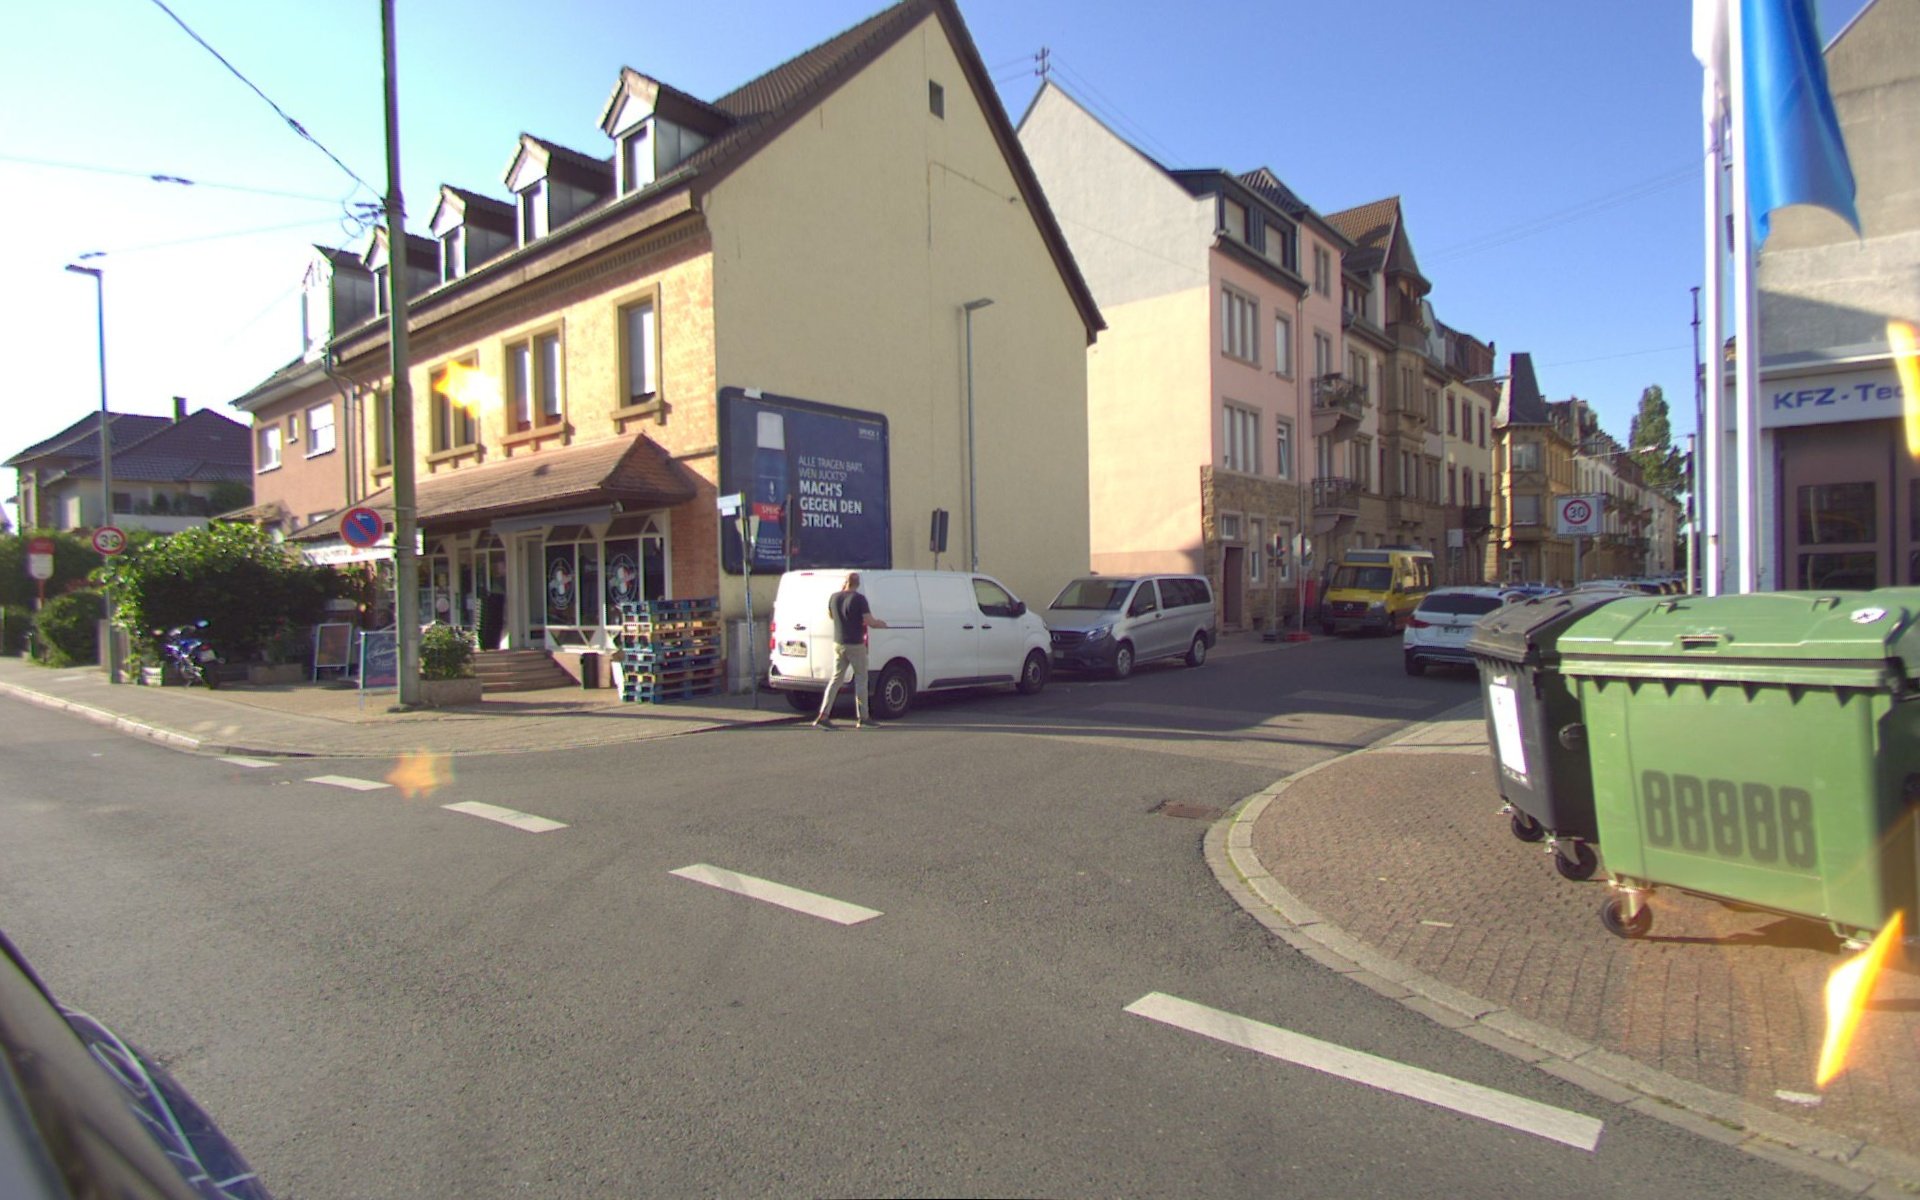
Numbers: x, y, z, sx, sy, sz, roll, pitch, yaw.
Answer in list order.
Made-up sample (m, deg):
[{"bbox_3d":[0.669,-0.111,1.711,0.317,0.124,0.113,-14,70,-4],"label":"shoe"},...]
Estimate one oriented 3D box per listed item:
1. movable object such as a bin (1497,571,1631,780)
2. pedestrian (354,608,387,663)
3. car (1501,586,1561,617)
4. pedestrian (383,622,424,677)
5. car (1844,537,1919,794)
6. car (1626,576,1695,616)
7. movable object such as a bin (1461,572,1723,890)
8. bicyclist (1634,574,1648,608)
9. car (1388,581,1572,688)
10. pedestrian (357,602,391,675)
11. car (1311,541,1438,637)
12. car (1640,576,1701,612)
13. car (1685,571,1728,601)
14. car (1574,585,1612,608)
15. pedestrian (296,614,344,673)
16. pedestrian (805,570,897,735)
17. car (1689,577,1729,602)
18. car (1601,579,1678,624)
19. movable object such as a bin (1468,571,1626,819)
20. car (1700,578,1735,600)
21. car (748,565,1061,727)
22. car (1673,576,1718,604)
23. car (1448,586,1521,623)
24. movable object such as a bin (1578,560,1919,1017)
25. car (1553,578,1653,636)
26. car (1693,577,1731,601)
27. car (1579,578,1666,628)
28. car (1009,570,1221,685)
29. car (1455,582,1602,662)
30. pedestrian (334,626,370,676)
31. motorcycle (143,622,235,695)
[{"bbox_3d":[4.744,0.554,7.928,0.702,1.494,1.167,-5,-2,35],"label":"movable object such as a bin"},{"bbox_3d":[-13.695,0.817,23.500,0.465,1.268,0.517,-1,0,41],"label":"pedestrian"},{"bbox_3d":[29.697,0.061,52.602,1.999,1.419,3.947,4,4,40],"label":"car"},{"bbox_3d":[-11.700,1.023,21.280,0.632,1.118,0.557,-1,0,41],"label":"pedestrian"},{"bbox_3d":[6.279,0.399,5.042,1.763,1.580,3.966,-2,1,26],"label":"car"},{"bbox_3d":[29.840,-0.196,43.057,1.999,1.536,3.947,4,4,40],"label":"car"},{"bbox_3d":[3.323,0.649,5.467,0.697,1.494,1.217,-4,-2,11],"label":"movable object such as a bin"},{"bbox_3d":[36.273,-0.499,53.867,0.558,1.780,0.575,-1,0,37],"label":"bicyclist"},{"bbox_3d":[9.176,0.489,17.720,1.999,1.536,3.947,4,4,40],"label":"car"},{"bbox_3d":[-12.855,0.833,22.196,0.501,1.572,0.460,0,0,34],"label":"pedestrian"},{"bbox_3d":[13.159,-0.333,31.847,2.135,2.747,6.049,-1,0,38],"label":"car"},{"bbox_3d":[33.762,-0.311,48.039,1.999,1.536,3.947,4,4,40],"label":"car"},{"bbox_3d":[50.338,-0.966,68.207,1.999,1.857,3.947,4,4,40],"label":"car"},{"bbox_3d":[43.291,-0.290,69.180,1.599,1.420,3.947,4,4,40],"label":"car"},{"bbox_3d":[-14.034,0.936,22.185,0.667,1.253,0.736,-1,0,43],"label":"pedestrian"},{"bbox_3d":[-1.278,0.606,11.992,0.812,1.882,0.792,-2,0,14],"label":"pedestrian"},{"bbox_3d":[53.339,-0.779,72.019,1.999,1.625,3.947,4,4,40],"label":"car"},{"bbox_3d":[25.988,-0.001,38.650,1.999,1.536,3.947,4,4,40],"label":"car"},{"bbox_3d":[3.960,0.587,6.793,0.702,1.494,1.207,-5,-2,35],"label":"movable object such as a bin"},{"bbox_3d":[61.219,-0.913,81.778,1.999,1.625,3.947,4,4,40],"label":"car"},{"bbox_3d":[-0.623,0.537,14.615,1.997,1.947,4.571,-1,0,38],"label":"car"},{"bbox_3d":[46.750,-0.673,64.279,1.999,1.625,3.947,4,4,40],"label":"car"},{"bbox_3d":[22.994,0.167,44.316,1.999,1.419,3.947,4,4,40],"label":"car"},{"bbox_3d":[3.435,0.616,3.910,1.040,1.494,1.316,-3,-2,-22],"label":"movable object such as a bin"},{"bbox_3d":[19.431,0.150,30.522,1.999,1.536,3.947,4,4,40],"label":"car"},{"bbox_3d":[56.149,-0.835,75.498,1.999,1.625,3.947,4,4,40],"label":"car"},{"bbox_3d":[22.908,0.053,34.925,1.999,1.536,3.947,4,4,40],"label":"car"},{"bbox_3d":[3.118,0.448,19.390,1.996,1.909,4.916,-1,0,36],"label":"car"},{"bbox_3d":[12.212,0.391,21.627,1.999,1.419,3.947,4,4,40],"label":"car"},{"bbox_3d":[-13.276,1.115,22.097,0.381,1.055,0.521,-1,0,24],"label":"pedestrian"},{"bbox_3d":[-15.015,1.103,19.692,2.229,1.292,0.831,-1,1,37],"label":"motorcycle"}]
